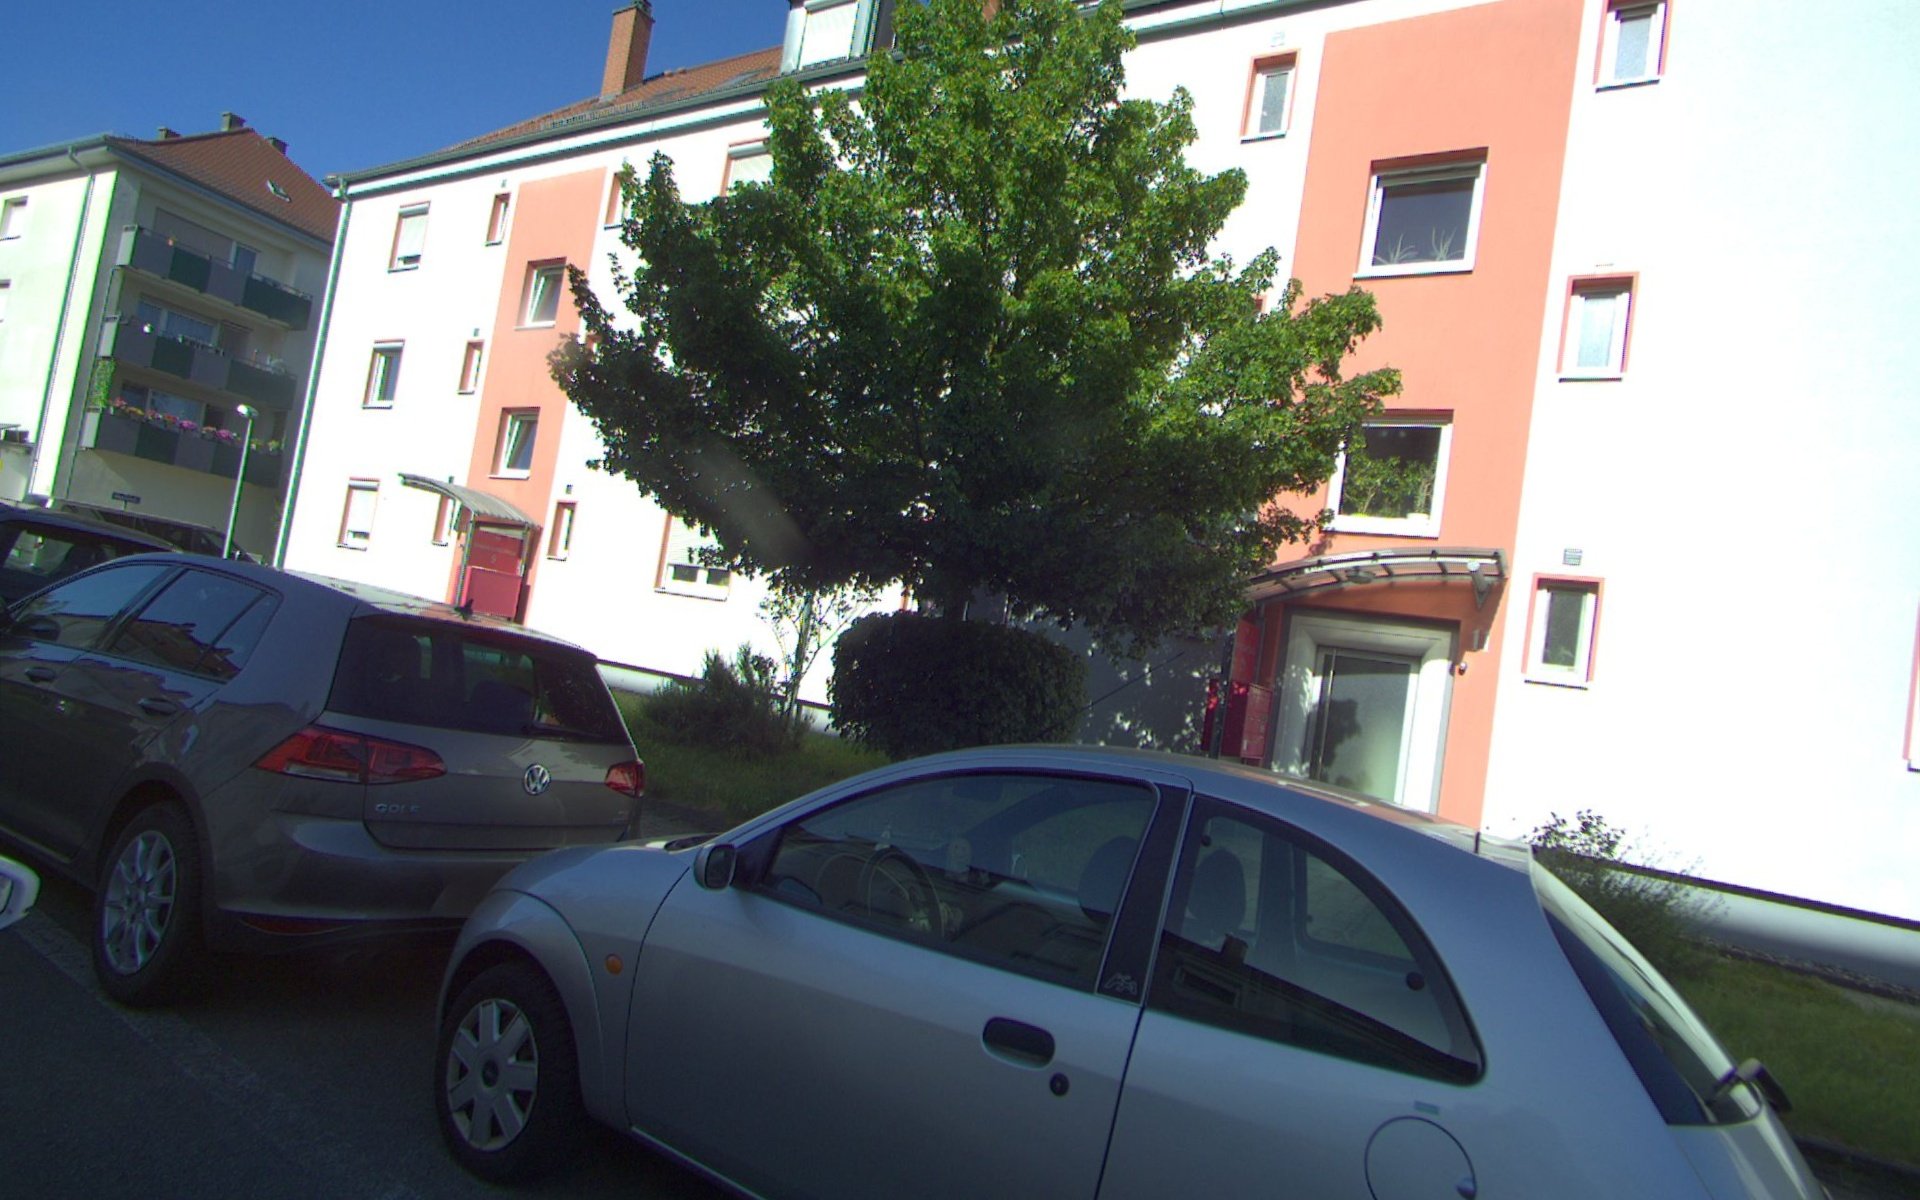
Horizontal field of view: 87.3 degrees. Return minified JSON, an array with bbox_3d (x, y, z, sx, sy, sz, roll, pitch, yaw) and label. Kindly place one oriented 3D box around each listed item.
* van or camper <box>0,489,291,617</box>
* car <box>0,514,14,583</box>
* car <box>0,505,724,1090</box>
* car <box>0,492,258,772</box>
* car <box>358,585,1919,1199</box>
[{"bbox_3d":[-19.778,-1.037,24.618,1.966,2.034,5.142,9,-4,30],"label":"van or camper"},{"bbox_3d":[-11.036,-0.401,9.722,3.723,1.431,1.579,7,-5,30],"label":"car"},{"bbox_3d":[-3.211,0.556,4.502,3.883,1.463,1.637,8,-6,28],"label":"car"},{"bbox_3d":[-6.970,0.059,7.085,3.548,1.564,1.626,7,-7,27],"label":"car"},{"bbox_3d":[0.194,0.987,2.822,3.431,1.406,1.636,7,-7,32],"label":"car"}]
